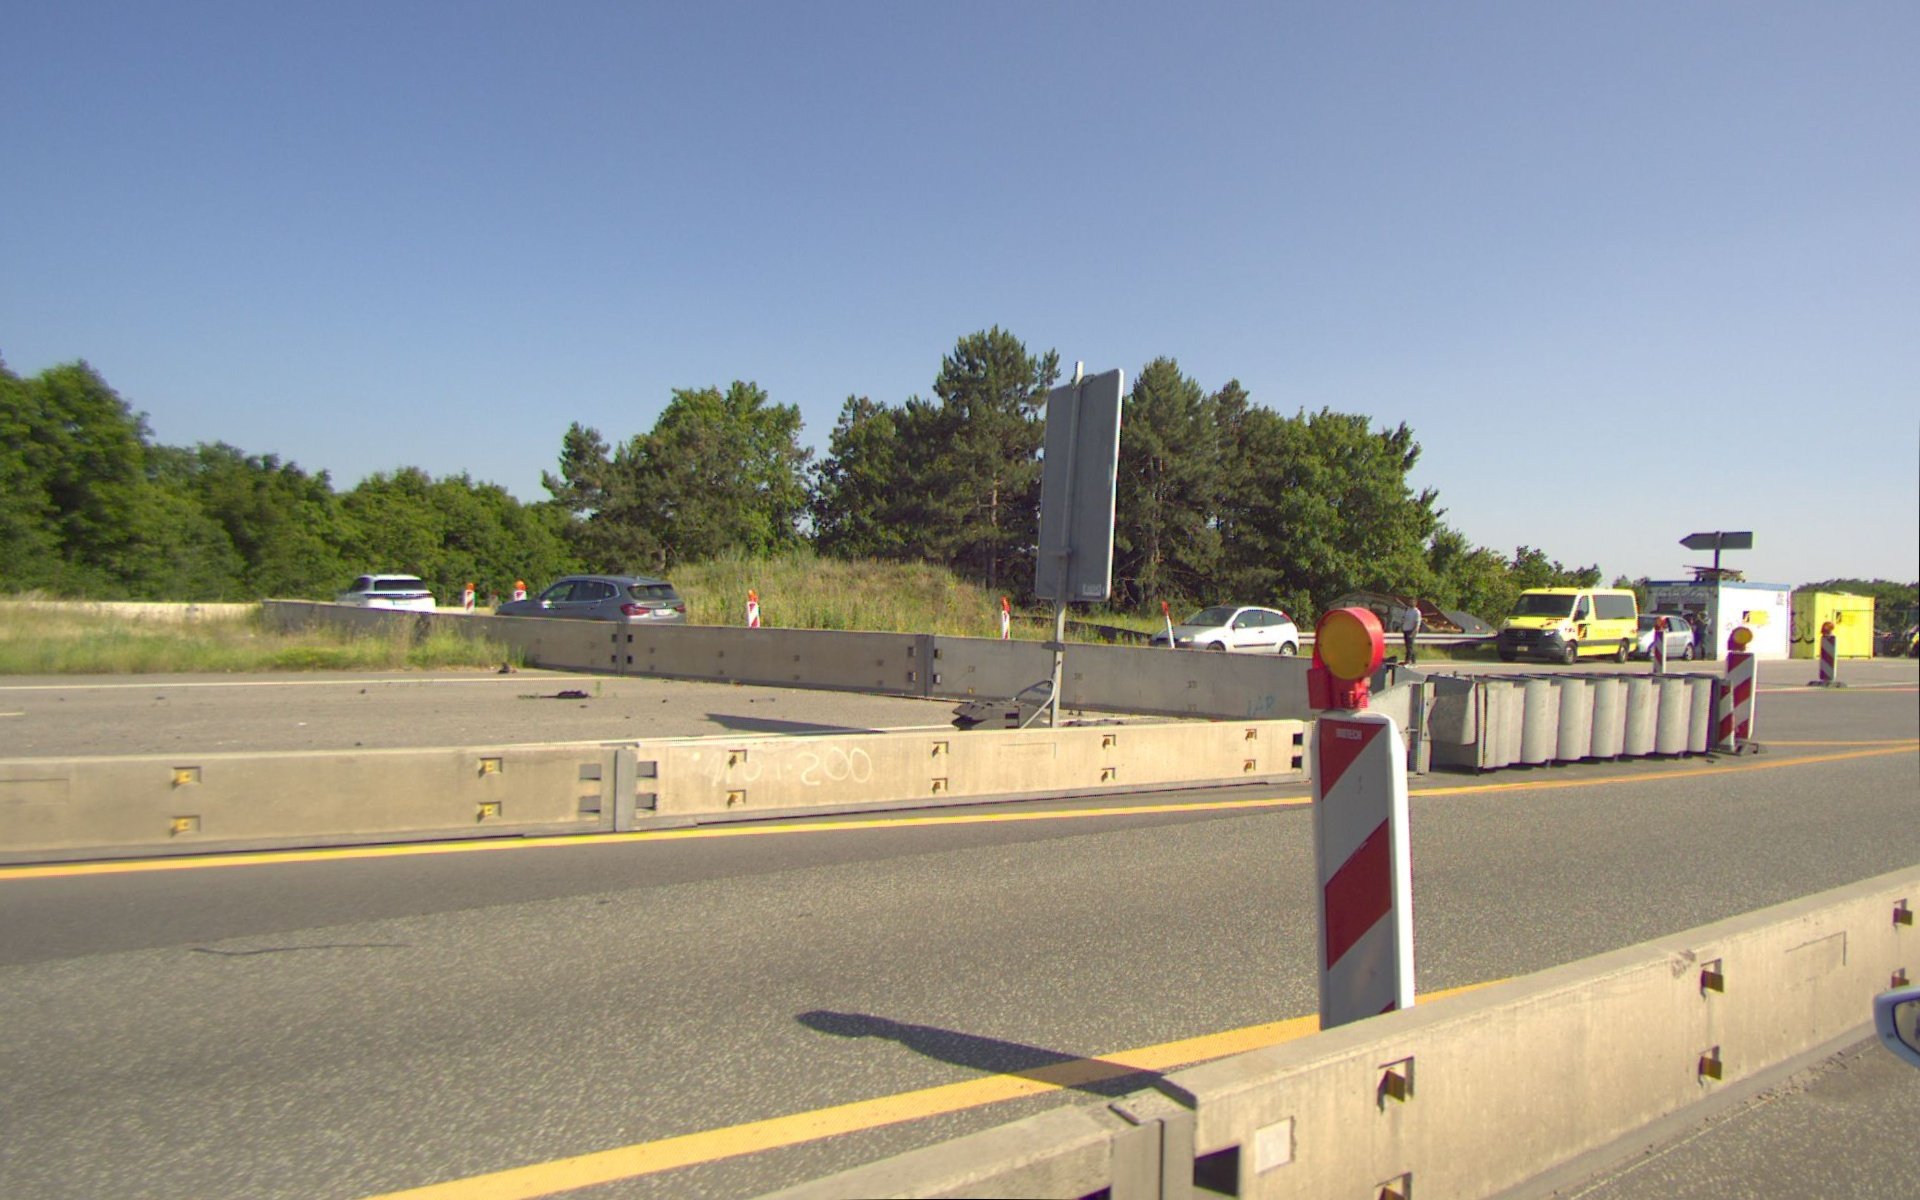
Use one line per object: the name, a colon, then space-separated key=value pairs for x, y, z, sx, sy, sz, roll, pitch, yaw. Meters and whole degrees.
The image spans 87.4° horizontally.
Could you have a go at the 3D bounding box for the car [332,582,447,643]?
car: x=-16.121 y=0.306 z=28.284 sx=1.946 sy=1.575 sz=3.949 roll=1 pitch=0 yaw=-43

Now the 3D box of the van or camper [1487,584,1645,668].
van or camper: x=19.121 y=0.815 z=31.578 sx=6.141 sy=2.409 sz=1.980 roll=1 pitch=0 yaw=-36

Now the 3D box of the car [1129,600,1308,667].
car: x=6.317 y=0.800 z=24.413 sx=4.250 sy=1.479 sz=1.851 roll=1 pitch=0 yaw=-34

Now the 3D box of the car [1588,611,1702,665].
car: x=23.576 y=1.282 z=34.532 sx=4.411 sy=1.708 sz=1.677 roll=2 pitch=0 yaw=-33

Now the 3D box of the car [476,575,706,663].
car: x=-8.015 y=0.351 z=21.734 sx=4.759 sy=1.643 sz=1.997 roll=2 pitch=1 yaw=28

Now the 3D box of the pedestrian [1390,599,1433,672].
pedestrian: x=11.595 y=0.898 z=25.786 sx=0.791 sy=1.844 sz=0.734 roll=1 pitch=0 yaw=-41

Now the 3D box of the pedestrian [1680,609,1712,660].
pedestrian: x=26.204 y=1.228 z=35.764 sx=0.712 sy=1.785 sz=0.718 roll=1 pitch=0 yaw=-31

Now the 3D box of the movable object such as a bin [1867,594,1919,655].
movable object such as a bin: x=44.724 y=1.146 z=46.714 sx=5.039 sy=2.751 sz=2.025 roll=1 pitch=0 yaw=-26
